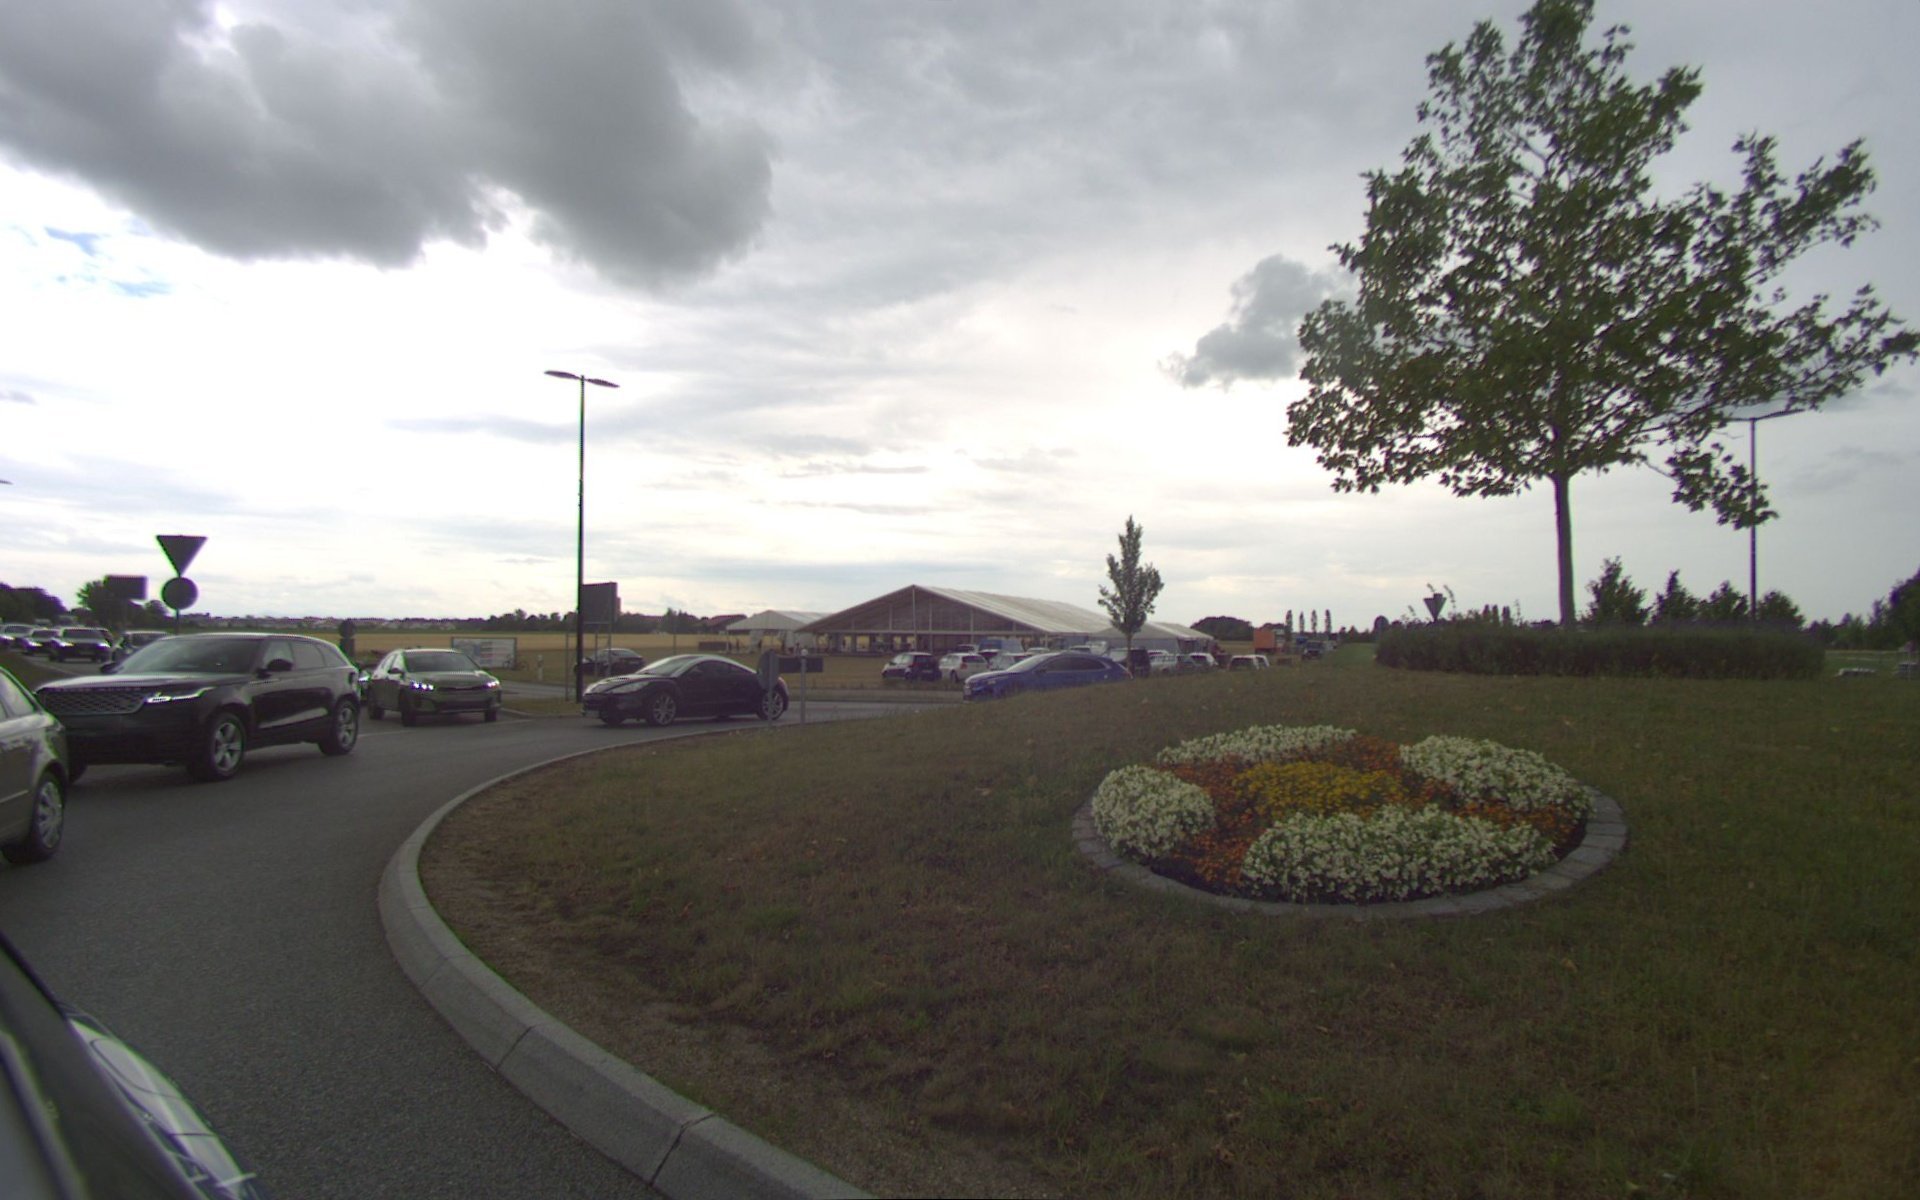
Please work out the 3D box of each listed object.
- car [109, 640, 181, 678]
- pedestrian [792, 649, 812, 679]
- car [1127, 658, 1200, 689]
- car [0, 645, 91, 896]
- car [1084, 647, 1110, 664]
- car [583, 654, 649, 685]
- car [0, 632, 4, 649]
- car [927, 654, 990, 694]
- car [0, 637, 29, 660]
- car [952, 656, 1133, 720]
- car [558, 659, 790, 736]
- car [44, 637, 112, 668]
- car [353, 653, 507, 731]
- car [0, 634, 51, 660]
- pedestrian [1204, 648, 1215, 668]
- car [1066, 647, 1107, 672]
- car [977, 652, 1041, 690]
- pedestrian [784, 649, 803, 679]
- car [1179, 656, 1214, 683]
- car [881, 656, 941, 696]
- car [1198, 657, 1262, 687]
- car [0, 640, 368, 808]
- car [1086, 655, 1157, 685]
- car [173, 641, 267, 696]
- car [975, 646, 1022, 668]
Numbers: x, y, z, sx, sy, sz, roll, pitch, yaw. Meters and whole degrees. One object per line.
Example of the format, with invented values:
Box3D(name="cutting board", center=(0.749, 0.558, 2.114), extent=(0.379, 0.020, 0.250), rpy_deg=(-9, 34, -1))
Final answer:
Box3D(name="car", center=(-31.869, 2.282, 39.534), extent=(3.812, 1.328, 1.756), rpy_deg=(-1, -2, 45))
Box3D(name="pedestrian", center=(-10.365, 4.216, 66.394), extent=(0.939, 1.915, 0.850), rpy_deg=(2, -2, -42))
Box3D(name="car", center=(11.508, 4.112, 57.352), extent=(1.706, 1.619, 3.884), rpy_deg=(2, -3, -38))
Box3D(name="car", center=(-6.165, 0.989, 4.981), extent=(1.752, 1.476, 4.555), rpy_deg=(2, -2, -26))
Box3D(name="car", center=(13.382, 5.408, 98.869), extent=(1.821, 1.619, 3.805), rpy_deg=(0, -2, 19))
Box3D(name="car", center=(-16.564, 3.325, 48.636), extent=(1.754, 1.328, 3.817), rpy_deg=(3, -3, -40))
Box3D(name="car", center=(-77.950, 3.203, 80.846), extent=(3.806, 1.328, 1.758), rpy_deg=(-1, -2, 39))
Box3D(name="car", center=(-0.123, 3.478, 48.177), extent=(1.686, 1.565, 4.013), rpy_deg=(-1, 0, -20))
Box3D(name="car", center=(-58.635, 2.952, 62.037), extent=(3.806, 1.328, 1.758), rpy_deg=(-1, -2, 39))
Box3D(name="car", center=(2.003, 2.128, 24.756), extent=(4.012, 1.441, 1.768), rpy_deg=(1, -2, -17))
Box3D(name="car", center=(-5.508, 1.836, 19.883), extent=(1.830, 1.317, 4.058), rpy_deg=(-3, -4, 41))
Box3D(name="car", center=(-40.879, 2.399, 46.884), extent=(3.806, 1.328, 1.758), rpy_deg=(-1, -2, 39))
Box3D(name="car", center=(-11.272, 1.909, 21.406), extent=(1.813, 1.469, 4.139), rpy_deg=(3, -5, -44))
Box3D(name="car", center=(-50.885, 2.529, 54.878), extent=(3.806, 1.328, 1.758), rpy_deg=(-1, -2, 39))
Box3D(name="pedestrian", center=(26.099, 6.032, 105.884), extent=(1.045, 2.029, 1.052), rpy_deg=(0, -2, 23))
Box3D(name="car", center=(8.338, 3.879, 66.539), extent=(1.936, 1.453, 3.976), rpy_deg=(1, -1, 18))
Box3D(name="car", center=(2.333, 3.445, 49.550), extent=(1.686, 1.565, 4.013), rpy_deg=(-1, 0, -20))
Box3D(name="pedestrian", center=(-11.023, 4.225, 67.113), extent=(0.939, 1.915, 0.850), rpy_deg=(2, -2, -42))
Box3D(name="car", center=(15.240, 4.438, 65.176), extent=(1.821, 1.619, 3.805), rpy_deg=(0, -2, 19))
Box3D(name="car", center=(-2.330, 3.507, 47.240), extent=(1.686, 1.565, 4.013), rpy_deg=(-1, 0, -20))
Box3D(name="car", center=(15.615, 4.135, 58.701), extent=(1.607, 1.619, 3.889), rpy_deg=(2, -2, -21))
Box3D(name="car", center=(-9.173, 1.298, 12.151), extent=(1.968, 1.586, 4.595), rpy_deg=(-1, -2, -8))
Box3D(name="car", center=(8.324, 3.604, 52.491), extent=(1.918, 1.453, 4.012), rpy_deg=(1, -2, -19))
Box3D(name="car", center=(-23.126, 2.082, 31.564), extent=(3.812, 1.510, 1.756), rpy_deg=(-1, -2, 45))
Box3D(name="car", center=(2.746, 3.991, 71.506), extent=(1.941, 1.453, 3.965), rpy_deg=(0, -2, 26))
